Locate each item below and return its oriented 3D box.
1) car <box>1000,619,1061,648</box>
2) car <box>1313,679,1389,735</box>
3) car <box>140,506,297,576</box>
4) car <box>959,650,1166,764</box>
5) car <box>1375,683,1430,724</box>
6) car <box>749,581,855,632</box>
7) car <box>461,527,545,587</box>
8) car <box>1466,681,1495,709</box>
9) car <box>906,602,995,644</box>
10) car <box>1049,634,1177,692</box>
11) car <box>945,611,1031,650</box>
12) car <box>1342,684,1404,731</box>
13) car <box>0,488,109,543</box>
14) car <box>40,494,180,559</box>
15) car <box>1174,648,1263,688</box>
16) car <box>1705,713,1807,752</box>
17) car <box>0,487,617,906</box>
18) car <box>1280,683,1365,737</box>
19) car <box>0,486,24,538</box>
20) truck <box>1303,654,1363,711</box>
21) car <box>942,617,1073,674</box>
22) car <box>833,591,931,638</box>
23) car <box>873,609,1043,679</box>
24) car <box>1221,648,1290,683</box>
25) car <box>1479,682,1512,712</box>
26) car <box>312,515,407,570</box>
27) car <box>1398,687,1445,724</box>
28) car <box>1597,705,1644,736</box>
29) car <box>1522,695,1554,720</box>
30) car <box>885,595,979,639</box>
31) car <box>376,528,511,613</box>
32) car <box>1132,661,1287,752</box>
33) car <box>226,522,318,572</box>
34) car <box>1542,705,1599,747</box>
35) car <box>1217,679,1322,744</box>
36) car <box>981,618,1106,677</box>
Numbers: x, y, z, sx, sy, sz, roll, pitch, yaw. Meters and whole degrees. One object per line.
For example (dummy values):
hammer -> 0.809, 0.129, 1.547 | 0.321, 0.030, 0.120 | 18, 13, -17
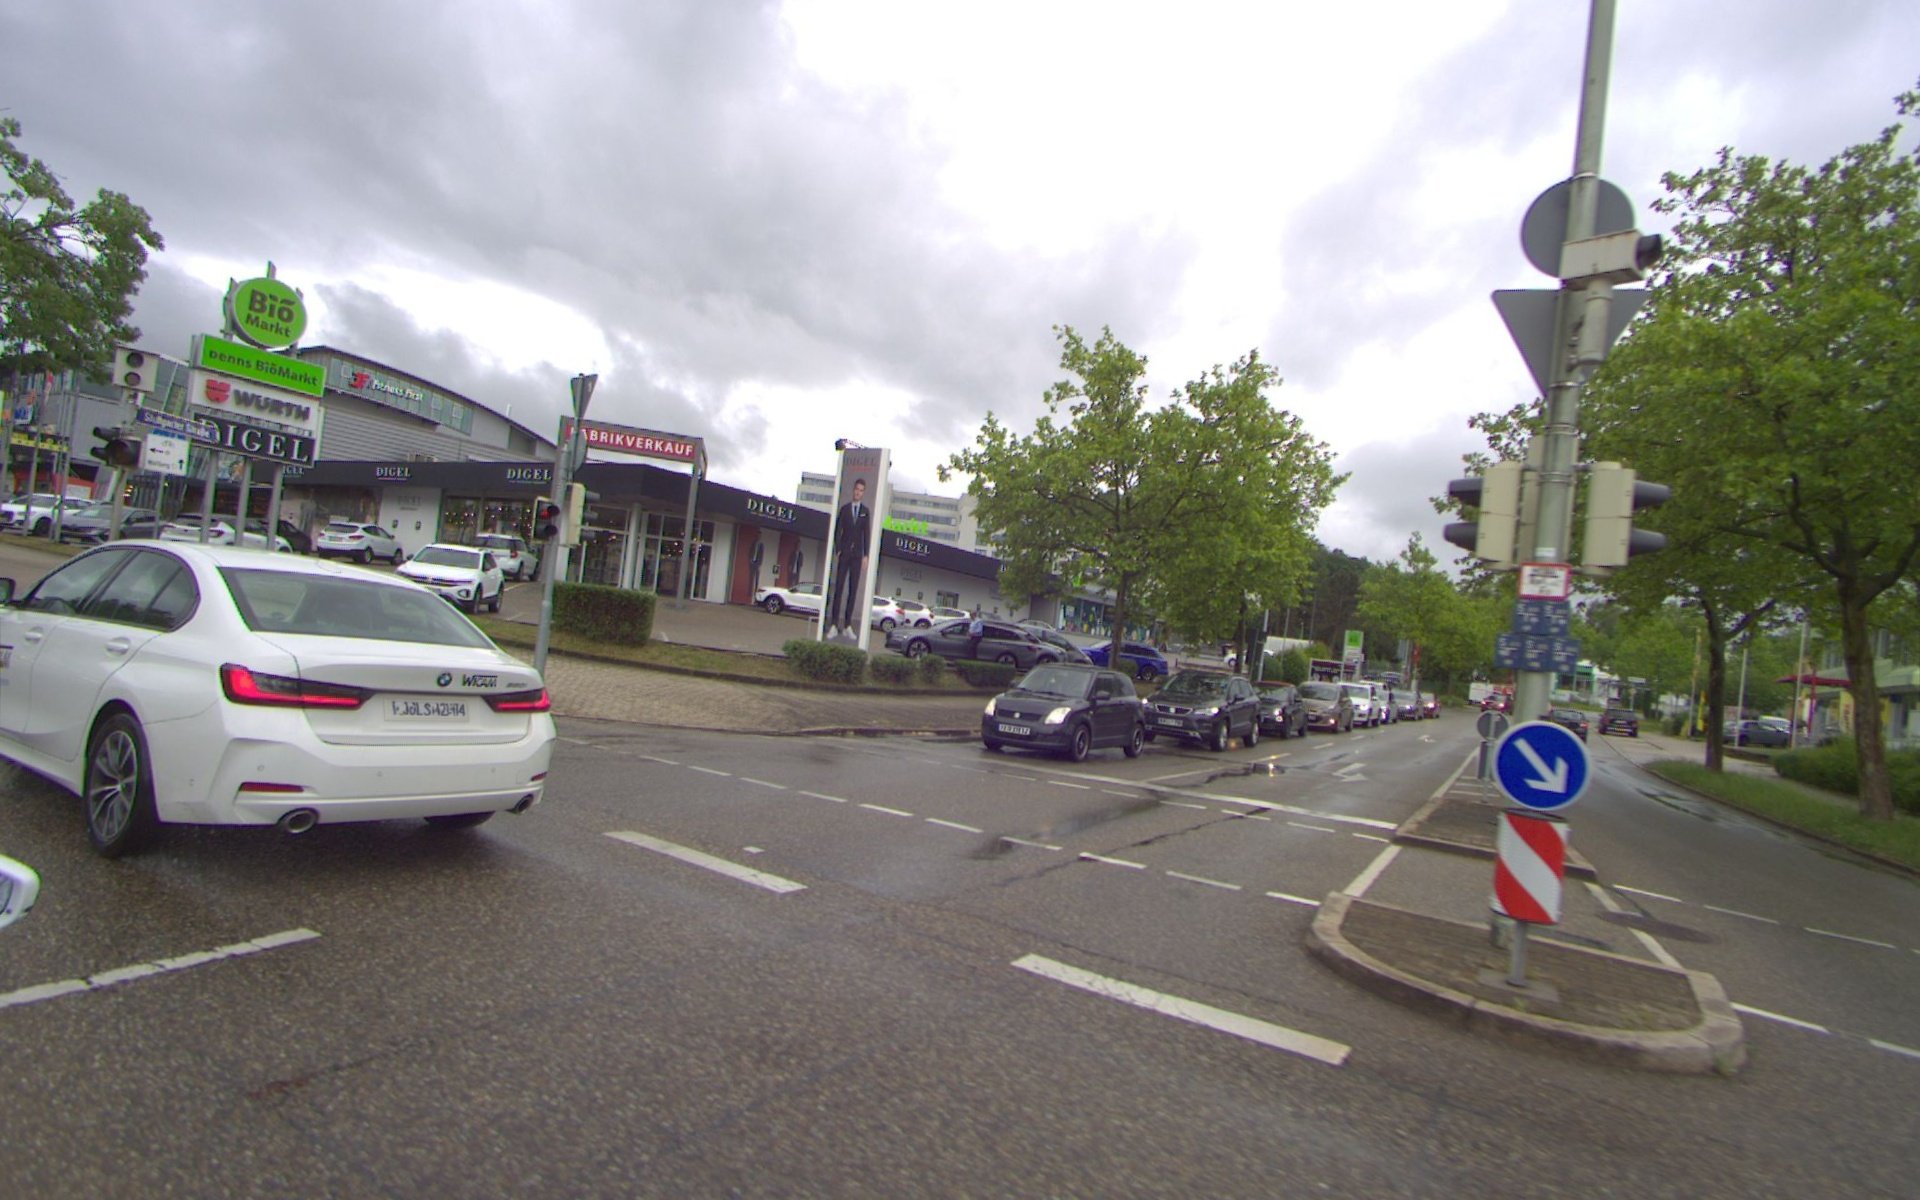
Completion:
car -> 4.089, 1.949, 58.939 | 3.190, 1.285, 1.539 | 8, -1, -9
car -> 15.474, 4.196, 39.695 | 1.893, 1.860, 4.334 | 5, -2, 32
car -> -22.188, -1.713, 30.315 | 1.948, 1.683, 4.021 | 7, 0, -7
car -> 1.841, 1.762, 16.923 | 1.788, 1.506, 3.985 | 5, -2, 32
car -> 22.313, 5.222, 50.646 | 1.824, 1.761, 3.986 | 7, -2, 32
car -> -6.444, 0.285, 41.274 | 4.083, 1.498, 1.736 | 8, -1, -9
car -> -16.880, -1.540, 37.372 | 1.709, 1.791, 4.148 | 7, -2, -11
car -> 47.466, 8.696, 91.733 | 1.966, 2.215, 3.994 | 7, -1, 30
car -> -0.501, 1.142, 49.939 | 4.083, 1.498, 1.736 | 8, -1, -9
car -> 6.503, 2.692, 42.903 | 4.850, 1.811, 1.998 | 8, -4, -12
car -> 1.432, 1.572, 52.285 | 4.083, 1.498, 1.736 | 8, -1, -9
car -> 18.332, 4.747, 44.570 | 1.788, 1.761, 3.985 | 5, -2, 32
car -> -33.577, -3.081, 36.916 | 1.766, 1.554, 3.595 | 7, -1, -7
car -> -27.403, -2.315, 32.577 | 1.615, 1.554, 3.596 | 7, -2, -7
car -> 14.681, 3.880, 57.249 | 4.371, 1.638, 1.932 | 7, -1, 35
car -> 44.828, 7.460, 56.734 | 3.923, 1.459, 2.002 | 7, -1, 10
car -> -4.345, 0.329, 5.882 | 4.544, 1.561, 1.806 | 6, -4, 32
car -> 12.182, 3.656, 33.653 | 1.788, 1.465, 3.985 | 5, -2, 32
car -> -42.659, -4.042, 42.497 | 1.770, 2.130, 4.118 | 7, -2, 33
truck -> 18.485, 4.112, 49.760 | 1.788, 2.514, 3.985 | 5, -2, 32
car -> 1.595, 1.587, 34.602 | 4.083, 1.394, 1.984 | 8, -4, -8
car -> -3.409, 0.630, 44.287 | 4.080, 1.498, 1.737 | 7, -1, -5
car -> -0.099, 1.382, 31.635 | 4.930, 1.503, 1.996 | 8, -1, -13
car -> 20.328, 4.484, 69.247 | 3.936, 1.815, 1.996 | 7, -1, 34
car -> 42.257, 7.661, 79.283 | 1.966, 2.037, 3.994 | 7, -1, 30
car -> -25.065, -2.341, 42.162 | 1.708, 1.791, 4.151 | 7, -2, -7
car -> 25.949, 5.909, 56.472 | 1.788, 1.761, 3.986 | 7, -2, 32
car -> 39.400, 7.169, 60.077 | 1.966, 1.459, 3.995 | 7, -2, 30
car -> 45.014, 8.364, 78.305 | 1.966, 1.548, 3.995 | 7, -2, 30
car -> -1.330, 0.790, 46.828 | 4.083, 1.498, 1.736 | 8, -1, -9
car -> -12.162, -0.639, 23.980 | 1.903, 1.595, 4.275 | 8, -2, -16
car -> 5.534, 2.373, 21.937 | 1.712, 1.564, 4.146 | 5, -5, 37
car -> -30.896, -2.332, 45.283 | 1.606, 1.740, 3.973 | 7, -2, -7
car -> 27.435, 5.637, 45.318 | 1.966, 1.548, 3.995 | 7, -2, 30
car -> 8.905, 3.144, 28.719 | 1.788, 1.506, 3.985 | 5, -2, 32
car -> 3.065, 1.782, 37.391 | 4.155, 1.596, 2.001 | 8, -4, -8
